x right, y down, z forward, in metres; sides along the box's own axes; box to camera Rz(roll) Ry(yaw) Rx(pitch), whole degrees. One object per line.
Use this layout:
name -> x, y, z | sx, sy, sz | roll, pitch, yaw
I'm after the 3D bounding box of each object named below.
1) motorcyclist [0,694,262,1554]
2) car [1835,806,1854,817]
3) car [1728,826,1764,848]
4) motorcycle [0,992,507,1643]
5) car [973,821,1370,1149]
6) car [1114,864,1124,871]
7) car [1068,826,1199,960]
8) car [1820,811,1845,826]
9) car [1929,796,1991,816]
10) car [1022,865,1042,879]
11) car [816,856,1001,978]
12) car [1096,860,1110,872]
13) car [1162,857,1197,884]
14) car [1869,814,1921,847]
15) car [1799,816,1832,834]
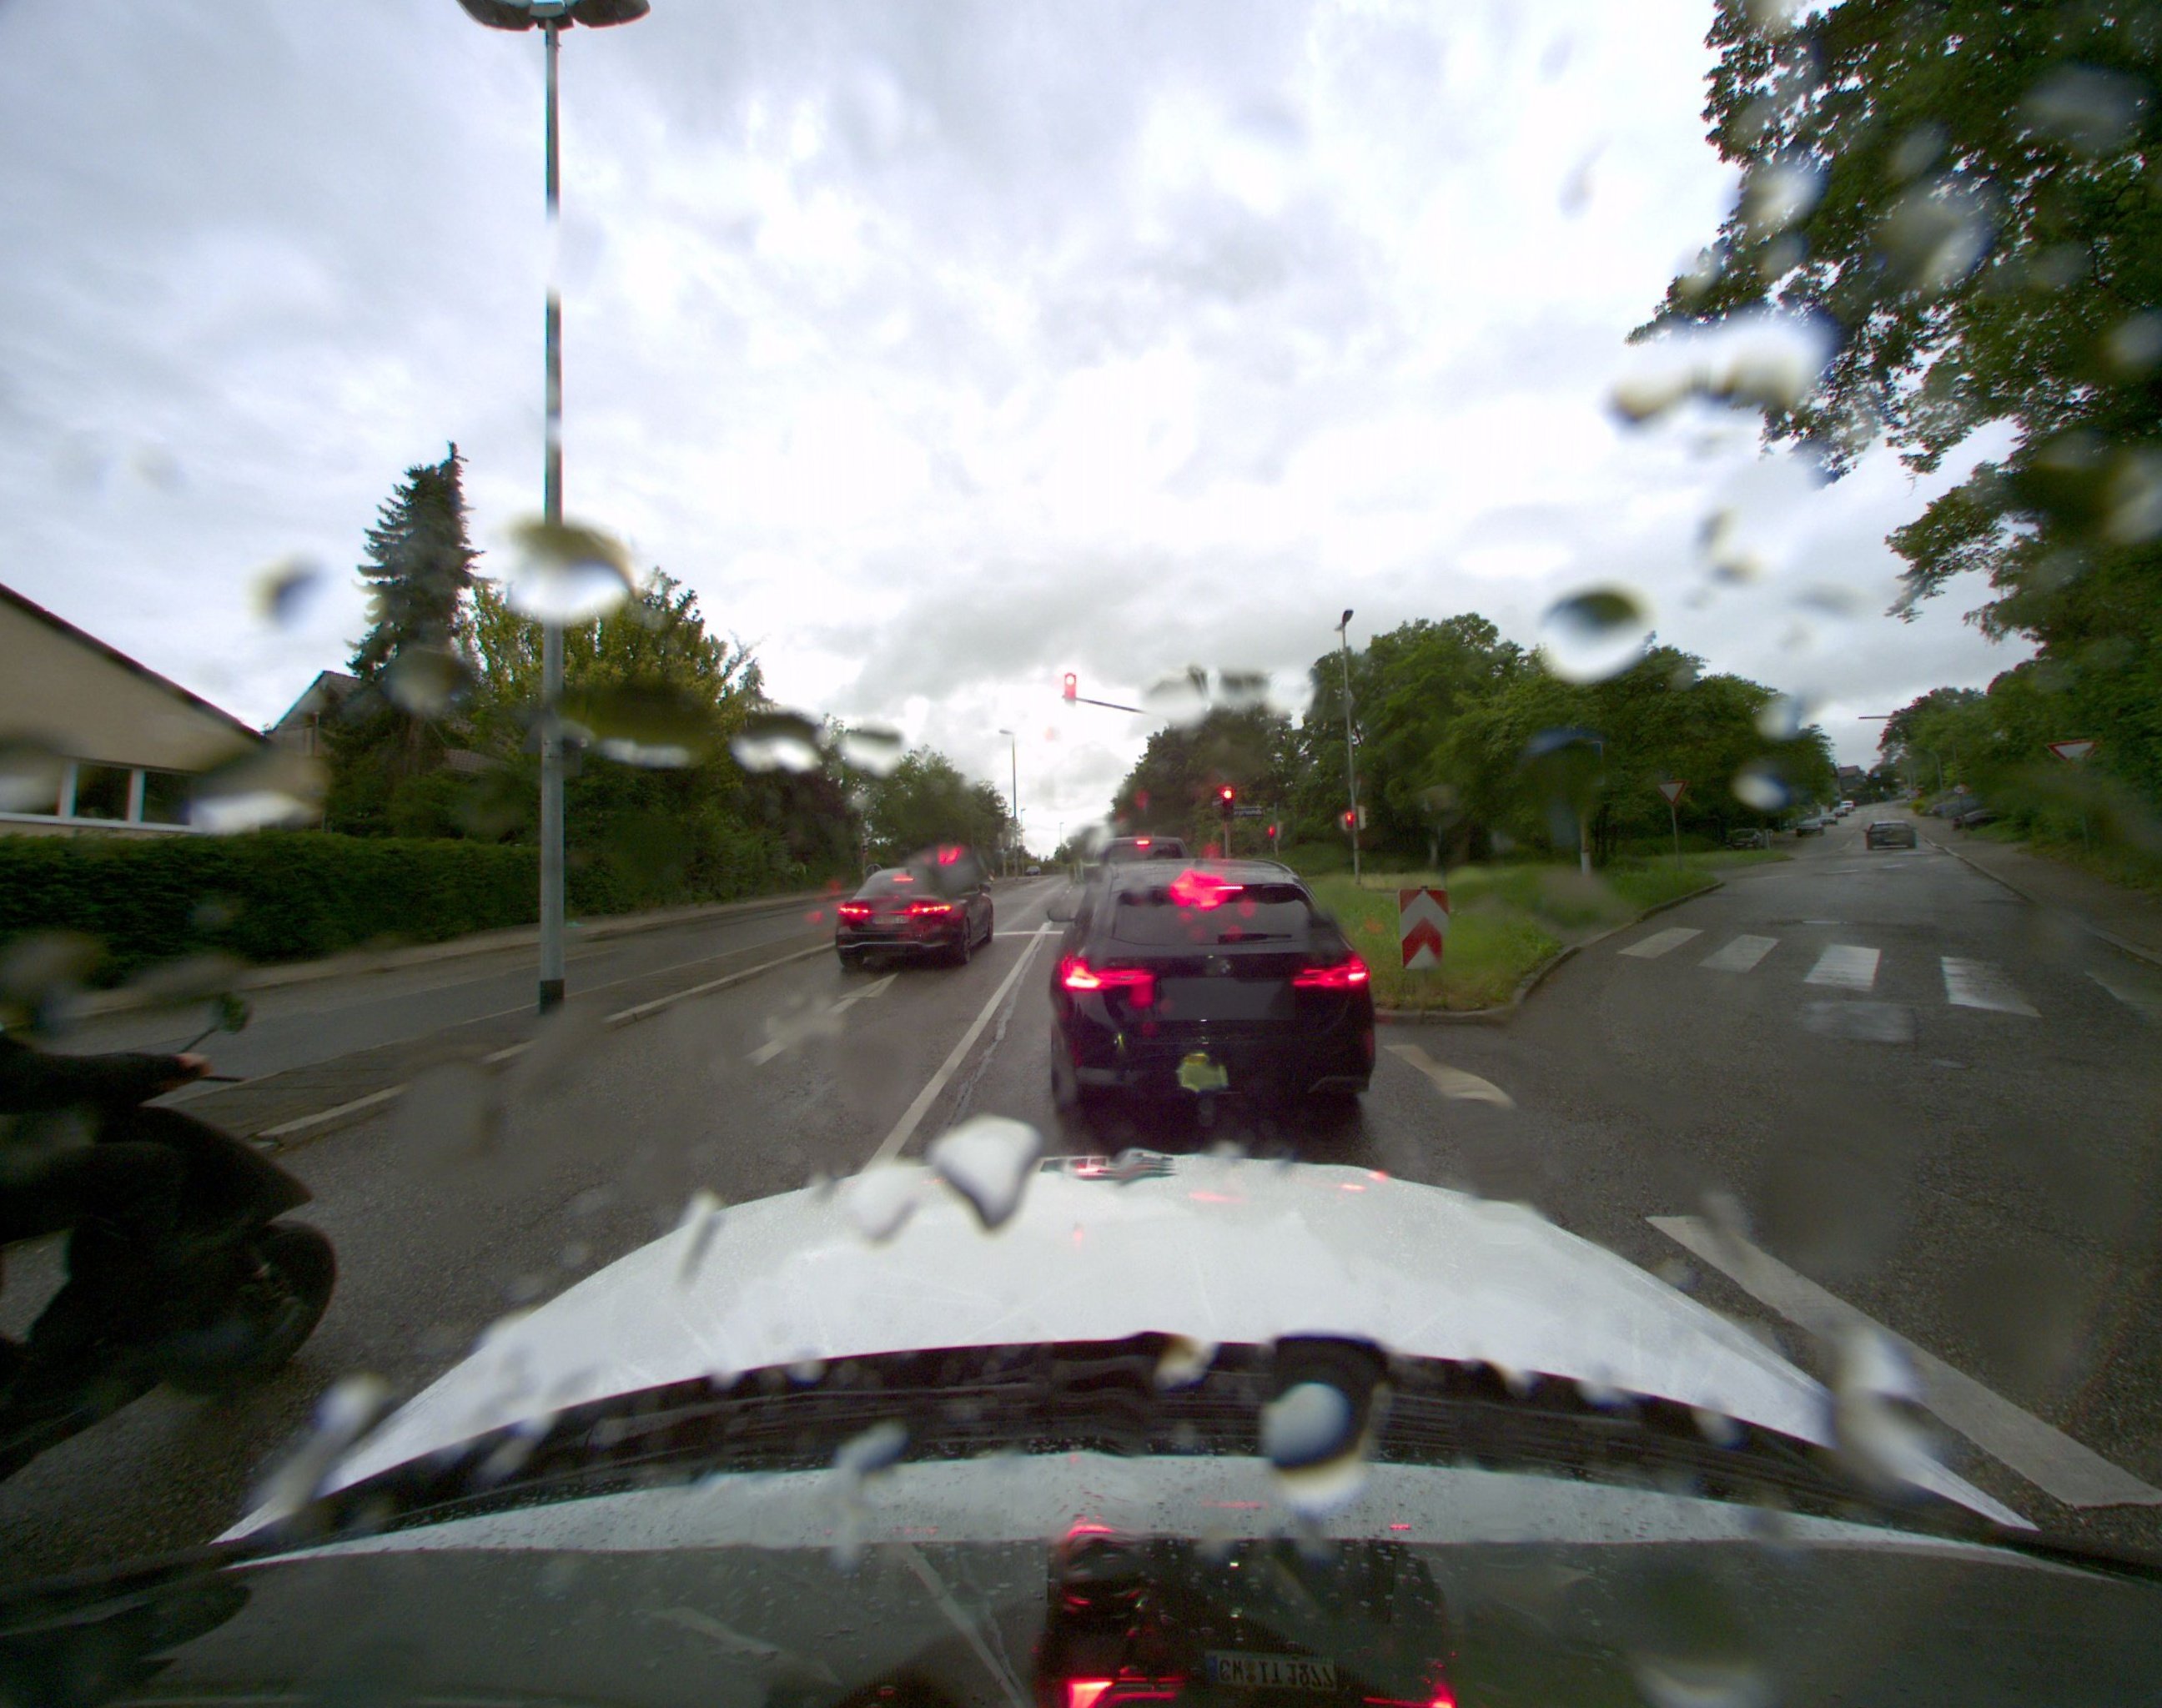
motorcyclist -> -2.463, 0.528, 1.709 | 0.762, 1.642, 0.674 | -3, -1, 1
car -> 114.453, -6.318, 122.104 | 1.880, 1.397, 4.193 | -2, -1, 40
car -> 45.999, -1.167, 56.312 | 1.655, 1.370, 3.512 | -3, 0, 43
motorcycle -> -2.413, 1.007, 2.011 | 0.688, 1.053, 1.747 | -3, -2, 1
car -> 0.635, 0.679, 6.242 | 1.889, 1.551, 4.621 | -1, -1, 5
car -> 9.806, 3.500, 209.286 | 2.094, 1.765, 4.879 | -4, -1, 9
car -> 0.820, 0.573, 13.481 | 1.811, 1.868, 3.954 | -1, -1, 2
car -> 88.170, -4.127, 95.571 | 1.971, 1.446, 4.321 | -2, -1, 40
car -> 87.581, -4.775, 81.215 | 3.949, 1.574, 1.785 | -5, -1, 42
car -> -6.888, 2.569, 115.004 | 1.984, 1.826, 4.006 | -4, -1, 6
car -> -2.548, 0.882, 13.190 | 1.987, 1.527, 4.326 | -4, -1, 0
car -> 2.861, 1.589, 107.242 | 1.691, 1.427, 3.515 | -4, -1, 2
car -> 6.311, 1.033, 52.439 | 1.866, 1.543, 3.954 | -4, -1, 2
car -> 42.306, -1.235, 42.327 | 4.187, 1.442, 1.795 | -4, 1, -44
car -> 66.246, -2.577, 73.434 | 4.318, 1.450, 1.881 | 0, -1, -44
